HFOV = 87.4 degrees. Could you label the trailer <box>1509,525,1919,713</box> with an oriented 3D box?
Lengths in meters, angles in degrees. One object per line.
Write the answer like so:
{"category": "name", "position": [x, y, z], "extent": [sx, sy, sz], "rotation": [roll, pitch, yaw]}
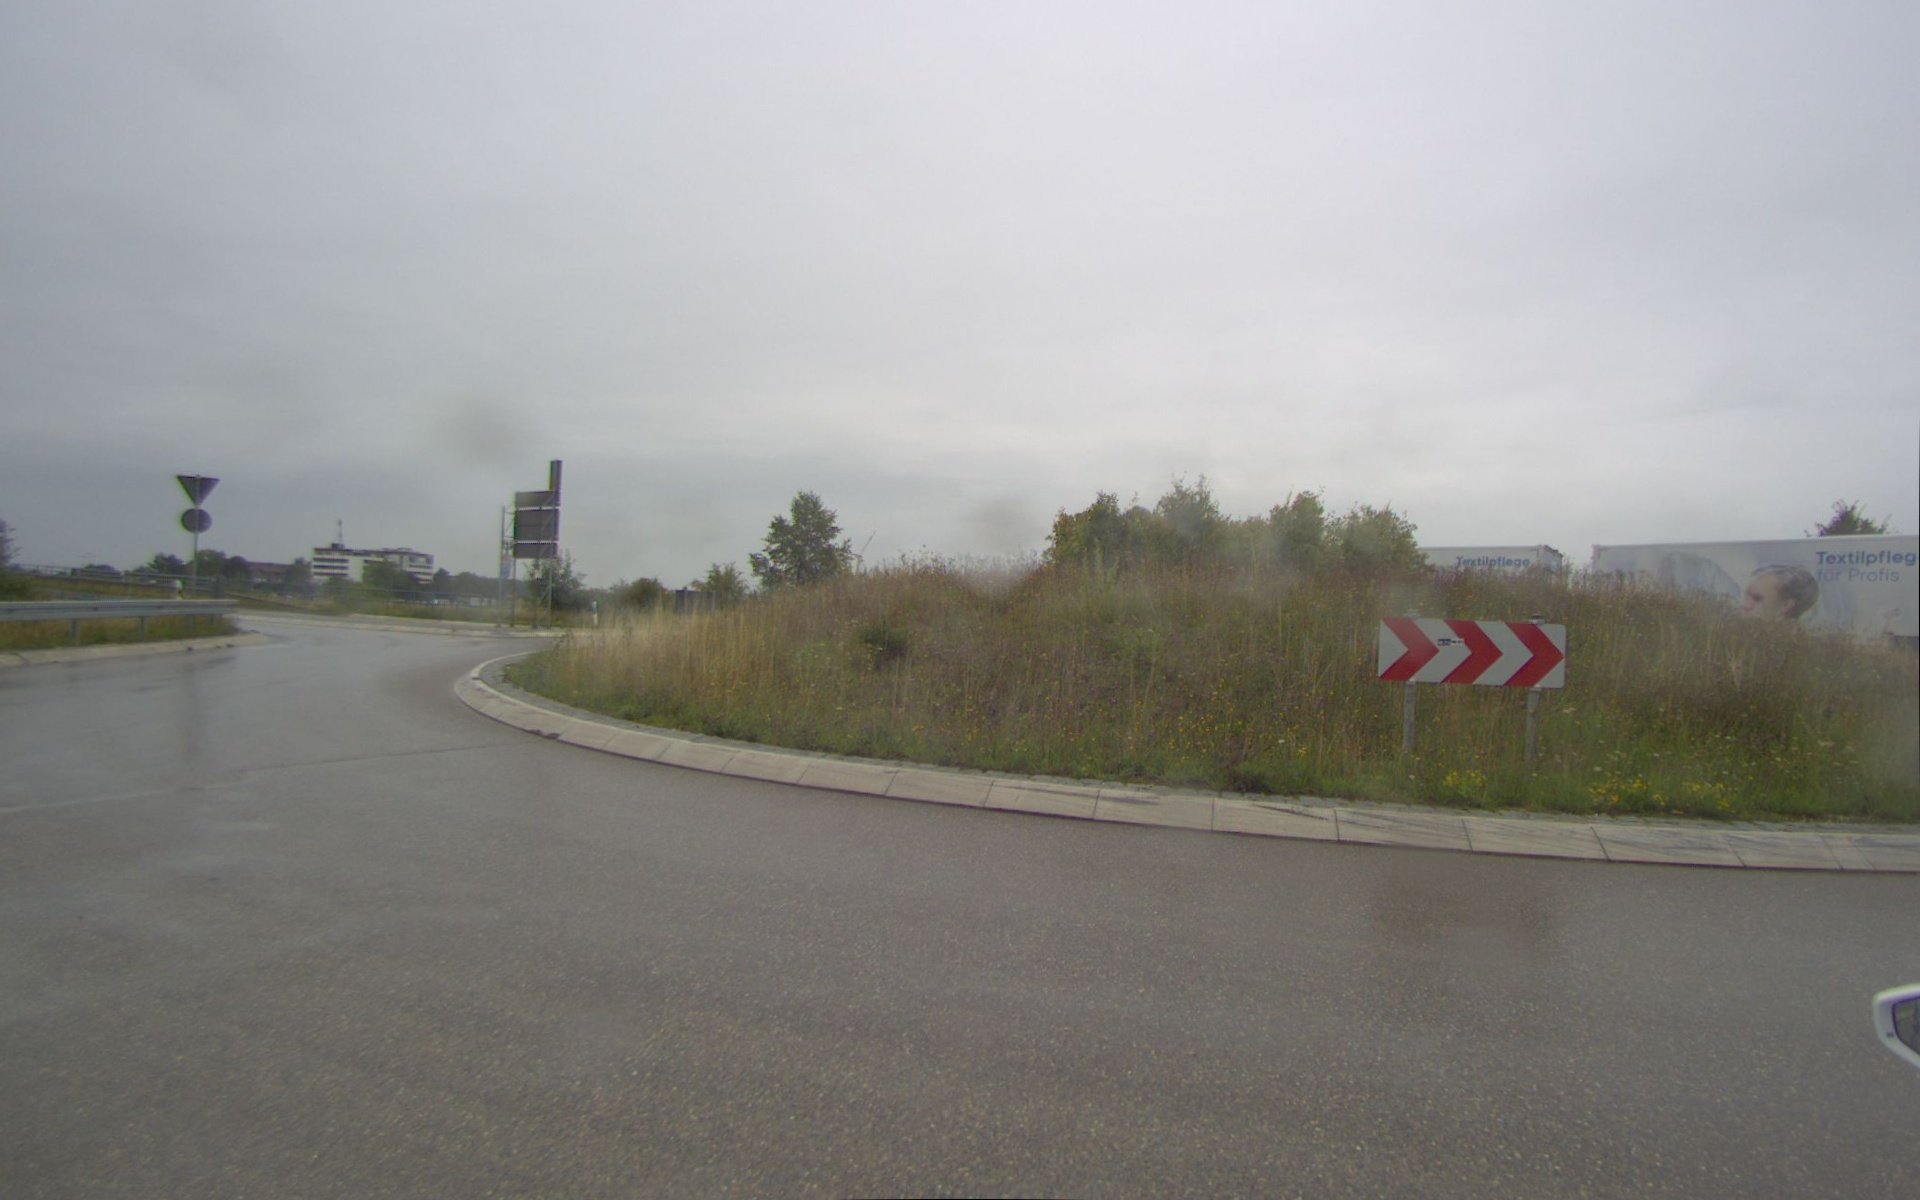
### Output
{"category": "trailer", "position": [19.140, 0.406, 24.965], "extent": [2.805, 3.869, 9.645], "rotation": [3, 0, -27]}

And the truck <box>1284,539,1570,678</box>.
{"category": "truck", "position": [14.467, 0.190, 31.623], "extent": [2.791, 3.869, 7.586], "rotation": [3, 0, -45]}
